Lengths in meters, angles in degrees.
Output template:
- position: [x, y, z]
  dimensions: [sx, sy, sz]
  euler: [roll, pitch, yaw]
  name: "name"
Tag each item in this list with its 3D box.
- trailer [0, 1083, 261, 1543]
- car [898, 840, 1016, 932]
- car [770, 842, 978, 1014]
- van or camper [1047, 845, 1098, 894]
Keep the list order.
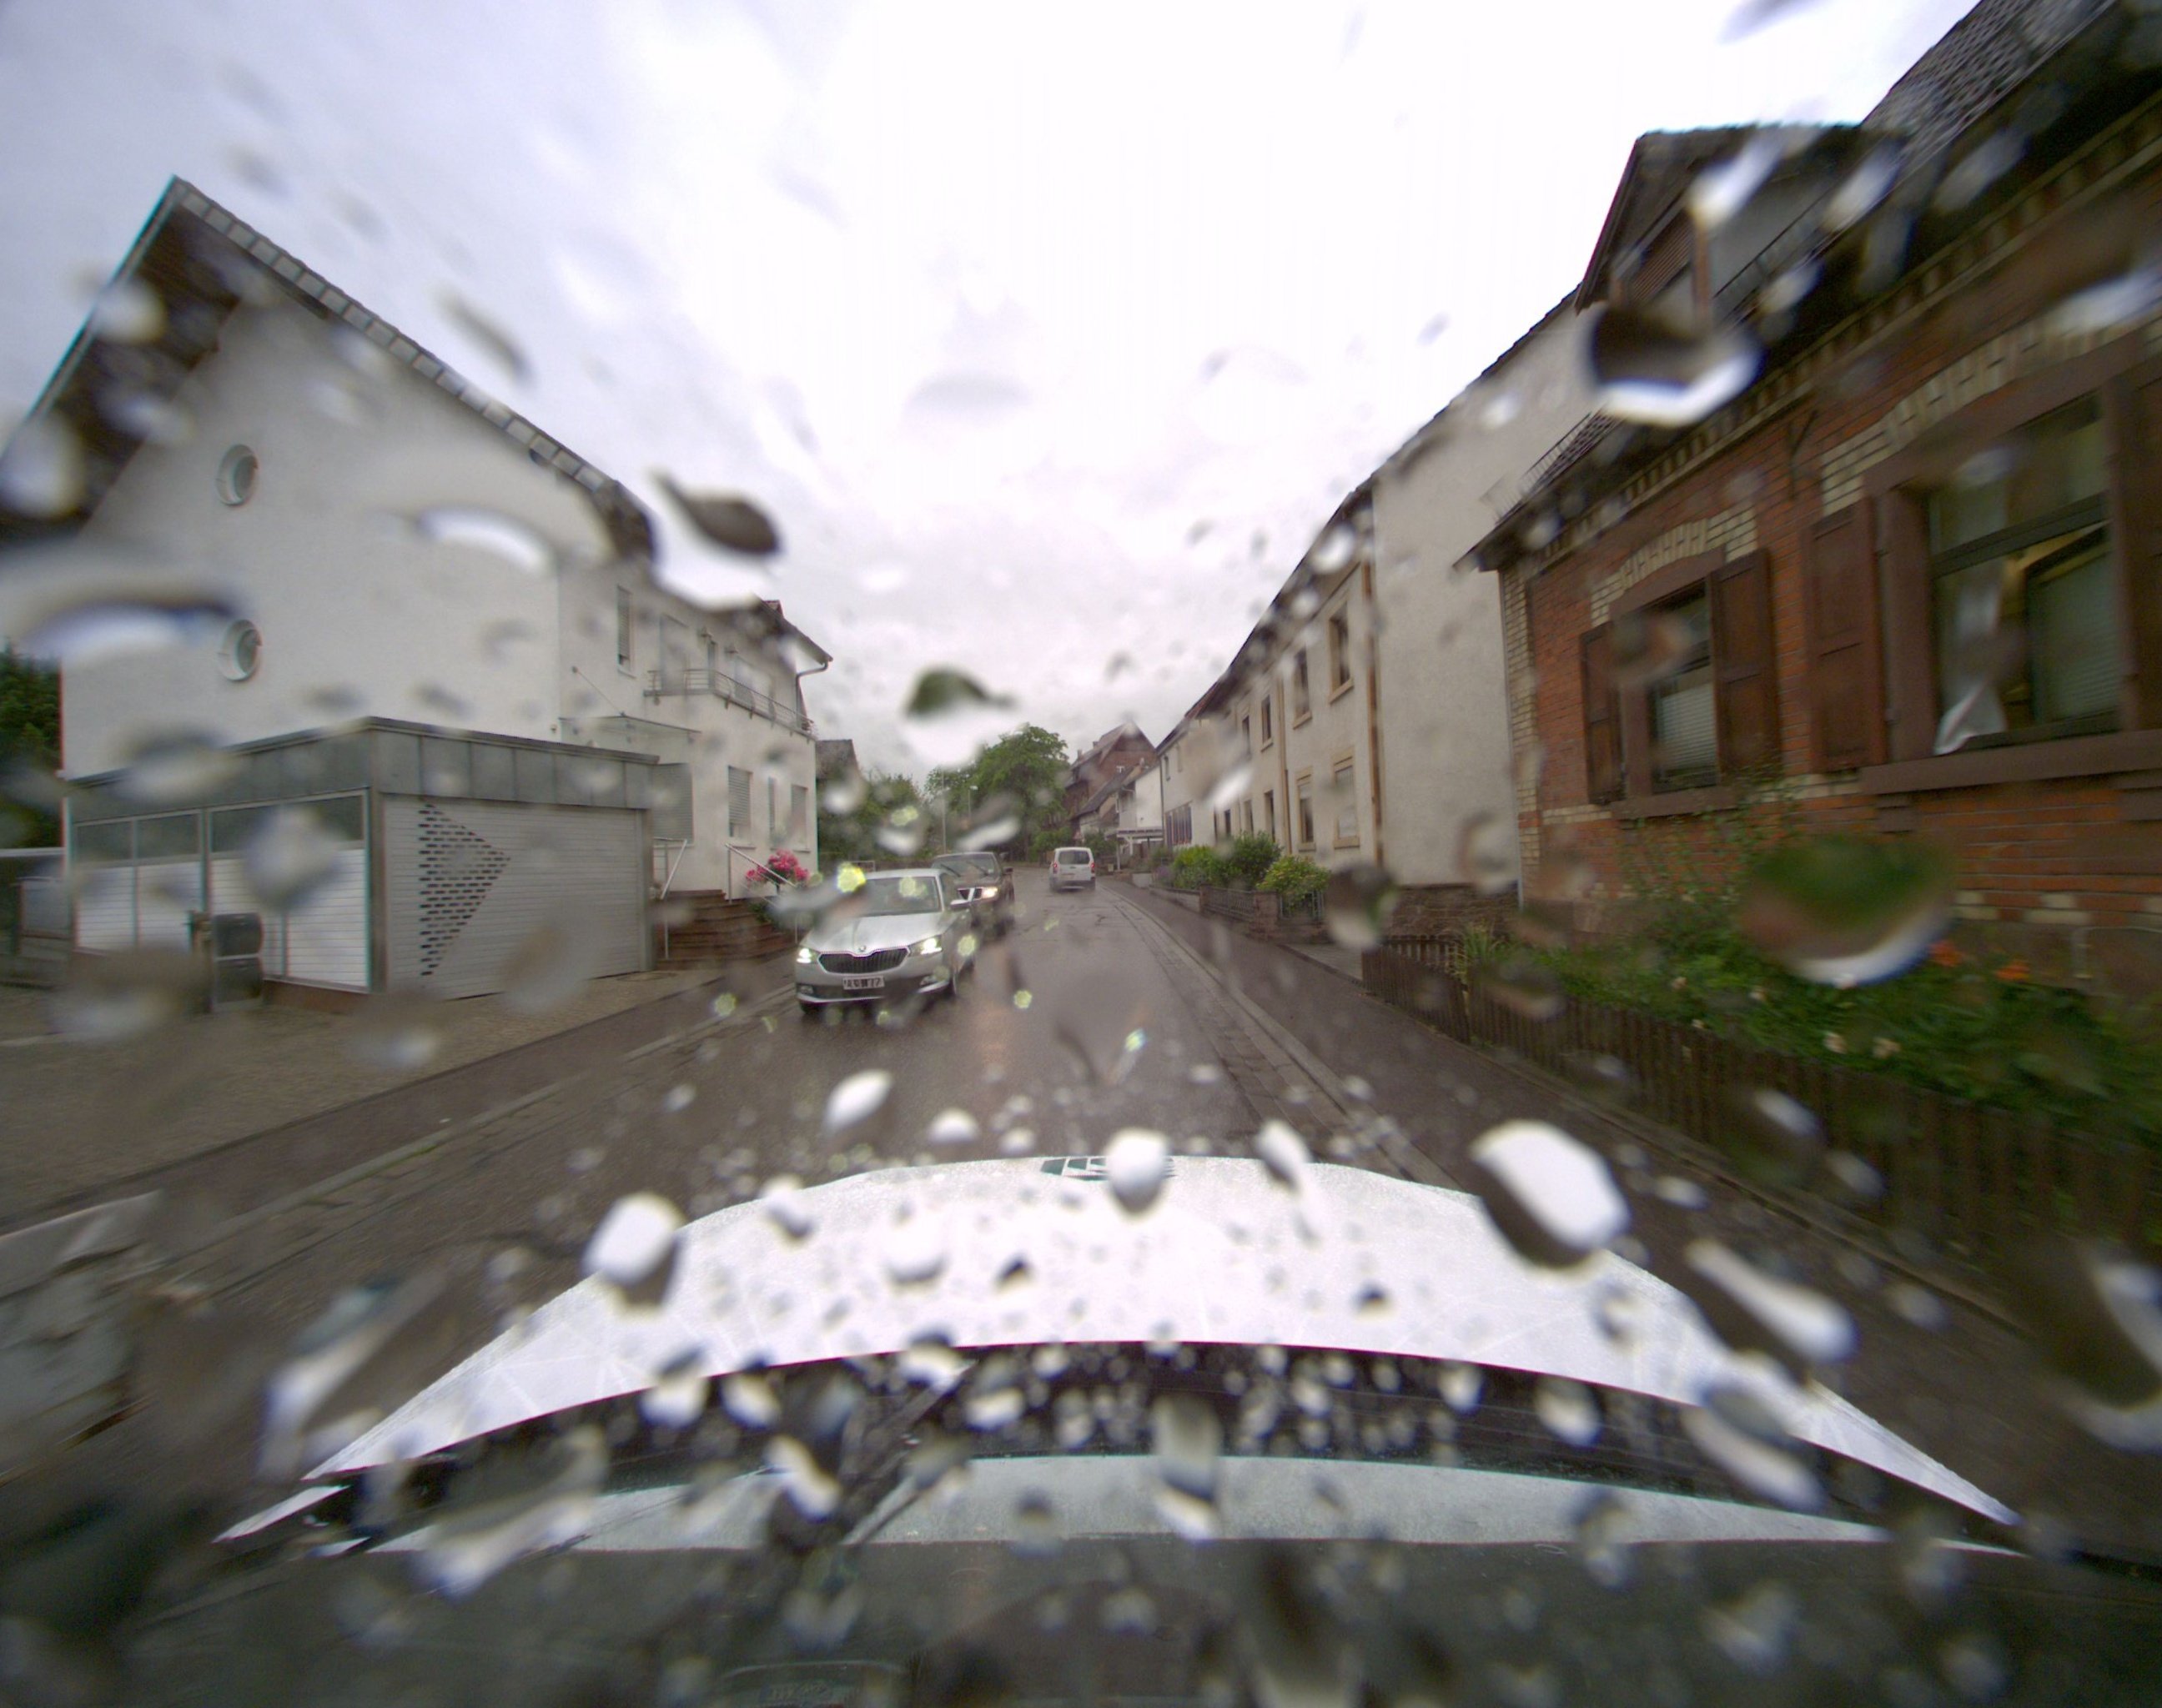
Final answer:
- position: [-3.050, 1.051, 0.930]
  dimensions: [1.478, 0.829, 2.676]
  euler: [-3, -2, 1]
  name: "trailer"
- position: [-2.559, 0.622, 17.945]
  dimensions: [1.989, 1.677, 4.778]
  euler: [-2, 0, -2]
  name: "car"
- position: [-2.264, 0.742, 9.928]
  dimensions: [1.685, 1.564, 3.928]
  euler: [-4, 0, -4]
  name: "car"
- position: [-0.301, 0.623, 34.718]
  dimensions: [1.936, 1.851, 4.001]
  euler: [-3, 0, 1]
  name: "van or camper"
